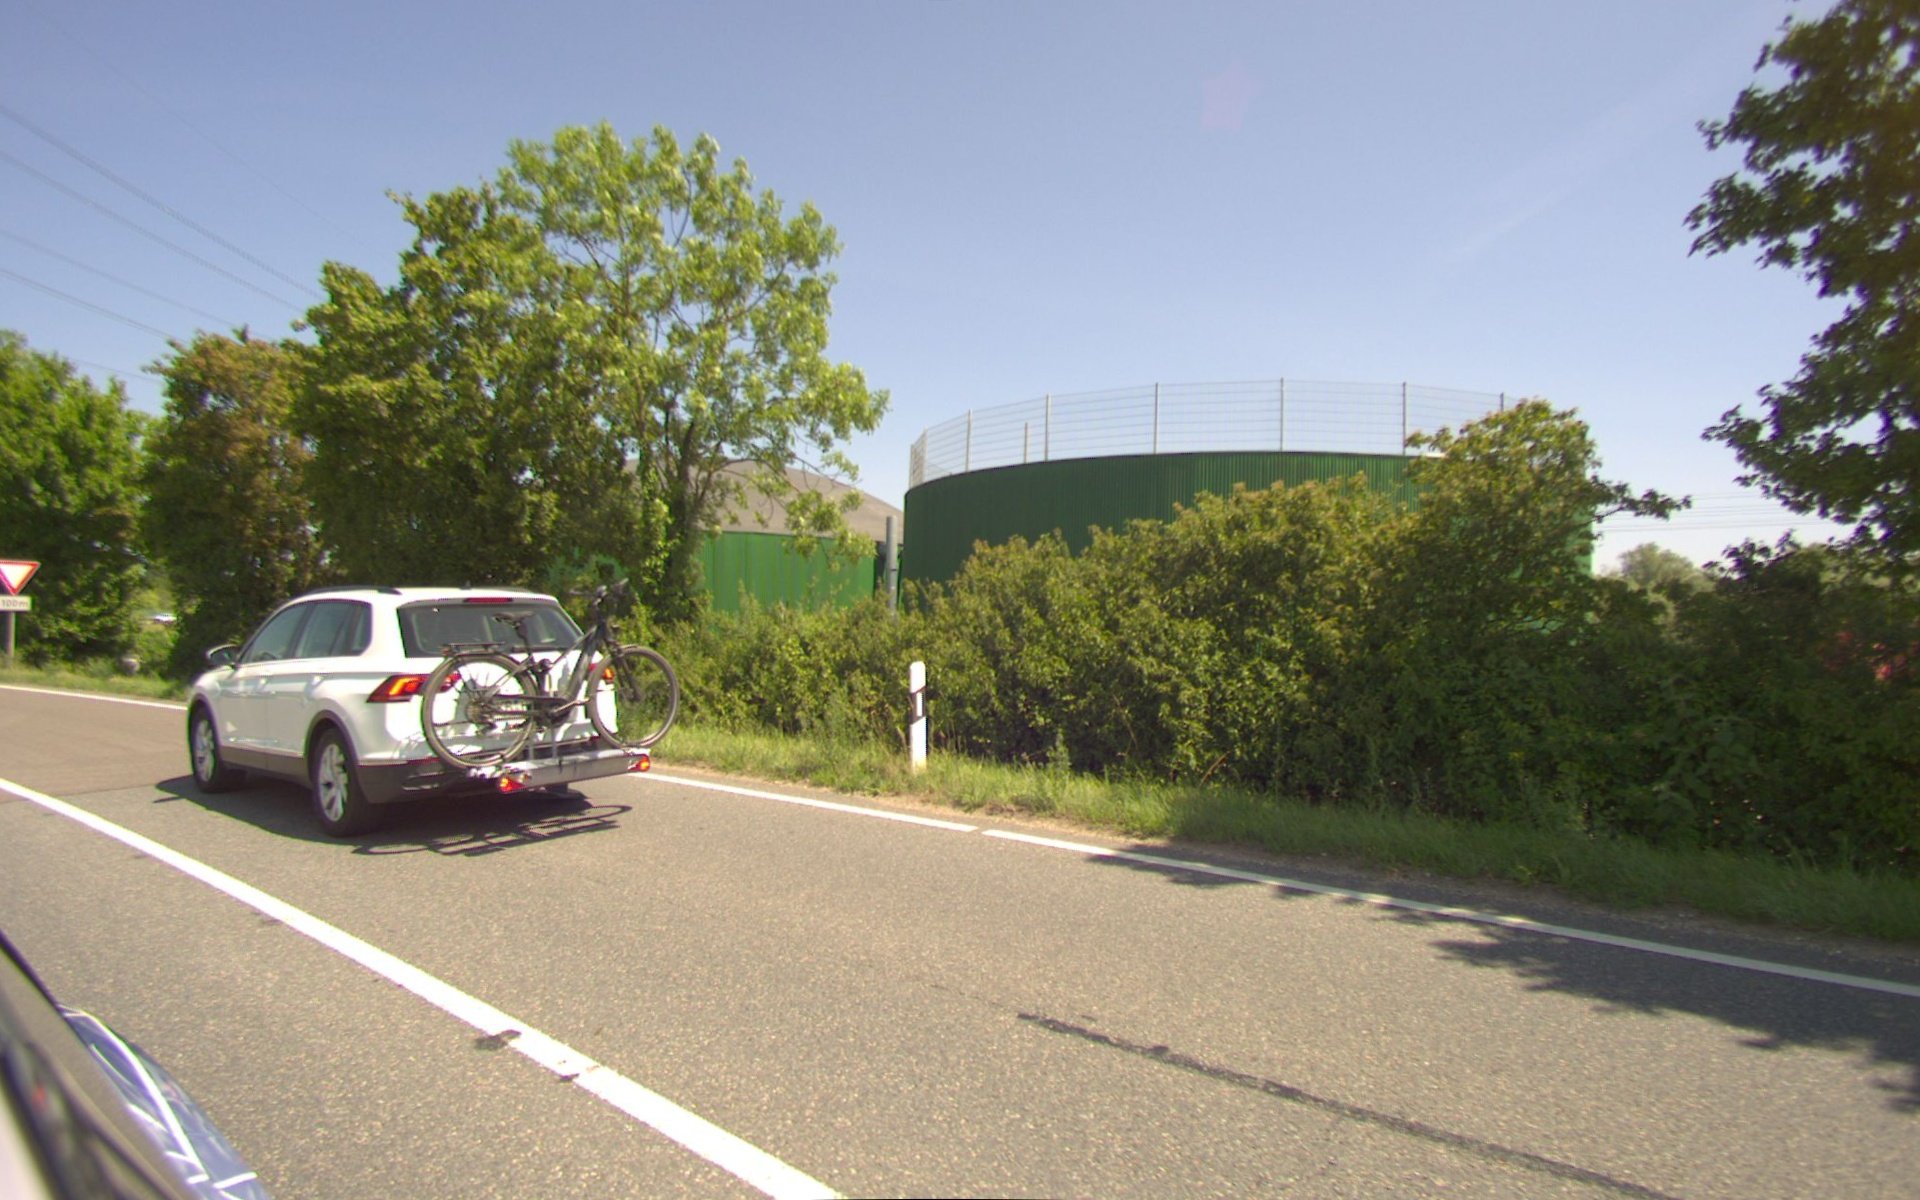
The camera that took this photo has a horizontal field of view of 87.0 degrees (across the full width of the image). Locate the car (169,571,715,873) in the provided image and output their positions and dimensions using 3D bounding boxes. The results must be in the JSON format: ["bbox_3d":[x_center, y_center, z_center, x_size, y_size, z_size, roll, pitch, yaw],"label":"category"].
[{"bbox_3d":[-4.101,0.681,7.616,4.771,1.613,1.837,-1,0,38],"label":"car"}]
